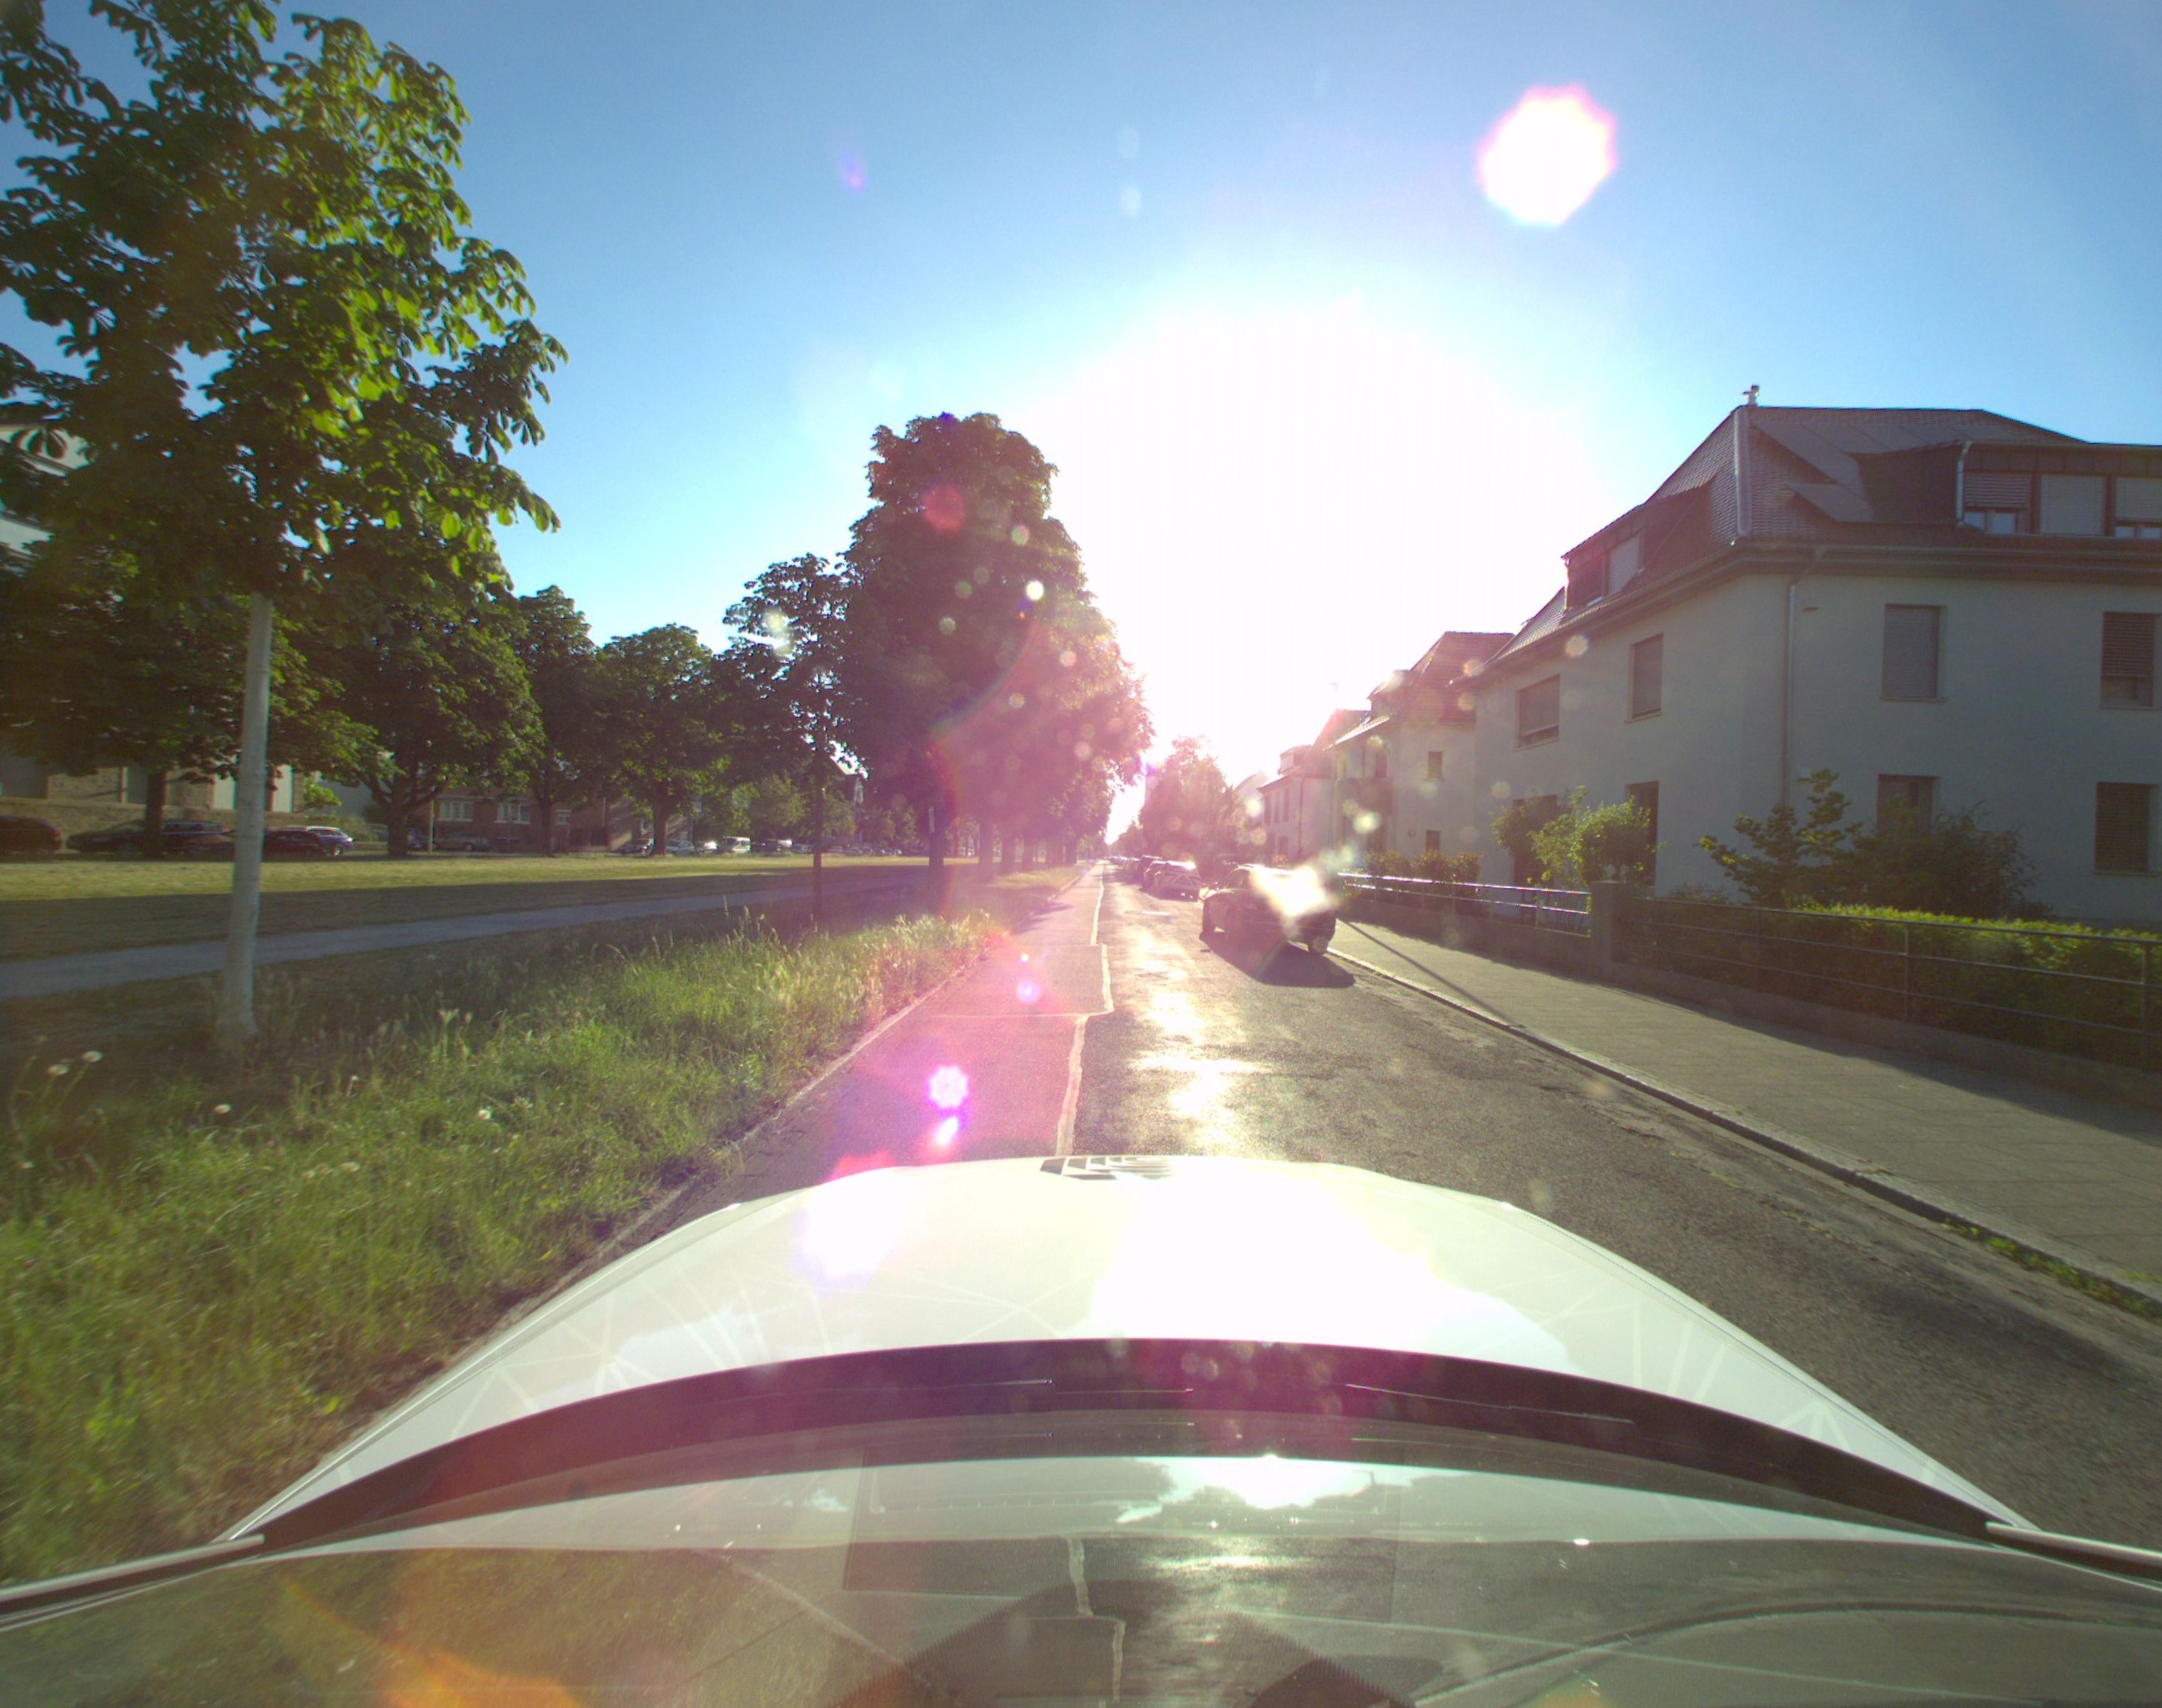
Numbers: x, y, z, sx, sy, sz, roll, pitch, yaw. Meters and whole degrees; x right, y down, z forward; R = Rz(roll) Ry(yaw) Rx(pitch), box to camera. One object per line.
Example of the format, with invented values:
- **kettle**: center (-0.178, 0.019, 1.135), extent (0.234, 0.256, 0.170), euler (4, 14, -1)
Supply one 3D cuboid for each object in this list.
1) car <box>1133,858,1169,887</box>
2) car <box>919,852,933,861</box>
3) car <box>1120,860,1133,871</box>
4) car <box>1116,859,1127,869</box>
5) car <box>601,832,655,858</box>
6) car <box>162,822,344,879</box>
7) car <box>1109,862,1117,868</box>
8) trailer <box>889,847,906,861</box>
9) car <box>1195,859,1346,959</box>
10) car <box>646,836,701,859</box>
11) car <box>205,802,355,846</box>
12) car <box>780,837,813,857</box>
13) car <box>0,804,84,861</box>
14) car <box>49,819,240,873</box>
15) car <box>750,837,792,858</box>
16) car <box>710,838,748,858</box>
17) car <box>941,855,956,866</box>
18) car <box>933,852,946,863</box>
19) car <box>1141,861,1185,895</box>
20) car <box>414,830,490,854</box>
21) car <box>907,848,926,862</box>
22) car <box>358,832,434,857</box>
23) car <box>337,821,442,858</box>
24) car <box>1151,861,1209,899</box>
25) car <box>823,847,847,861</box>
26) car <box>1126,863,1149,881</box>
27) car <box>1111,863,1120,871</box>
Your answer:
- **car**: center (4.741, 1.238, 55.745), extent (1.987, 1.737, 4.863), euler (3, -1, 0)
- **car**: center (-29.572, 0.569, 155.725), extent (1.678, 1.560, 4.316), euler (3, -1, 3)
- **car**: center (7.121, 1.820, 128.240), extent (1.750, 1.420, 4.074), euler (9, -1, 2)
- **car**: center (7.461, 1.847, 151.352), extent (1.753, 1.605, 4.358), euler (2, -1, 0)
- **car**: center (-36.968, -0.708, 66.645), extent (1.750, 2.013, 4.370), euler (3, 0, 2)
- **car**: center (-32.895, -0.106, 32.606), extent (1.985, 2.014, 4.880), euler (3, -1, 3)
- **car**: center (8.676, 2.912, 219.048), extent (1.985, 1.629, 4.002), euler (3, -1, 3)
- **trailer**: center (-34.982, 0.018, 155.545), extent (1.986, 2.428, 4.726), euler (3, -1, 2)
- **car**: center (3.446, 0.932, 15.675), extent (1.774, 1.499, 4.397), euler (5, -1, 0)
- **car**: center (-31.790, -0.463, 63.668), extent (1.812, 1.639, 4.651), euler (3, 0, 1)
- **car**: center (-38.458, -1.383, 39.312), extent (1.985, 1.750, 5.012), euler (3, 0, 4)
- **car**: center (-31.408, -0.719, 89.873), extent (1.986, 2.014, 4.002), euler (3, -1, 2)
- **car**: center (-38.800, -0.799, 28.579), extent (1.987, 2.014, 4.429), euler (3, -1, 0)
- **car**: center (-38.576, -0.271, 33.790), extent (1.985, 2.014, 4.880), euler (3, -1, 3)
- **car**: center (-31.387, -0.600, 82.725), extent (1.986, 1.940, 5.249), euler (3, 0, 3)
- **car**: center (-36.894, -0.598, 85.430), extent (1.810, 1.838, 4.410), euler (3, -1, 2)
- **car**: center (-28.773, 1.363, 177.014), extent (1.986, 2.250, 5.188), euler (3, -1, 2)
- **car**: center (-28.796, 0.786, 166.137), extent (1.678, 2.176, 4.317), euler (3, 0, 3)
- **car**: center (4.131, 1.182, 41.620), extent (1.773, 1.463, 4.595), euler (6, -1, 1)
- **car**: center (-45.733, -0.849, 59.242), extent (3.971, 1.486, 1.866), euler (3, -1, 2)
- **car**: center (-34.695, 0.210, 171.883), extent (2.428, 2.922, 5.819), euler (1, -1, 2)
- **car**: center (-49.963, -0.682, 59.440), extent (3.883, 1.574, 1.836), euler (3, -1, 0)
- **car**: center (-45.519, -0.941, 53.707), extent (4.836, 1.610, 1.998), euler (3, -19, 2)
- **car**: center (4.288, 1.106, 35.908), extent (1.987, 1.464, 4.550), euler (3, 0, 1)
- **car**: center (-36.009, 0.030, 119.197), extent (2.023, 2.014, 4.002), euler (0, -1, 2)
- **car**: center (5.214, 1.672, 75.476), extent (1.787, 1.492, 4.675), euler (3, -1, 1)
- **car**: center (7.262, 2.651, 172.197), extent (1.753, 1.605, 4.358), euler (2, -1, 0)
